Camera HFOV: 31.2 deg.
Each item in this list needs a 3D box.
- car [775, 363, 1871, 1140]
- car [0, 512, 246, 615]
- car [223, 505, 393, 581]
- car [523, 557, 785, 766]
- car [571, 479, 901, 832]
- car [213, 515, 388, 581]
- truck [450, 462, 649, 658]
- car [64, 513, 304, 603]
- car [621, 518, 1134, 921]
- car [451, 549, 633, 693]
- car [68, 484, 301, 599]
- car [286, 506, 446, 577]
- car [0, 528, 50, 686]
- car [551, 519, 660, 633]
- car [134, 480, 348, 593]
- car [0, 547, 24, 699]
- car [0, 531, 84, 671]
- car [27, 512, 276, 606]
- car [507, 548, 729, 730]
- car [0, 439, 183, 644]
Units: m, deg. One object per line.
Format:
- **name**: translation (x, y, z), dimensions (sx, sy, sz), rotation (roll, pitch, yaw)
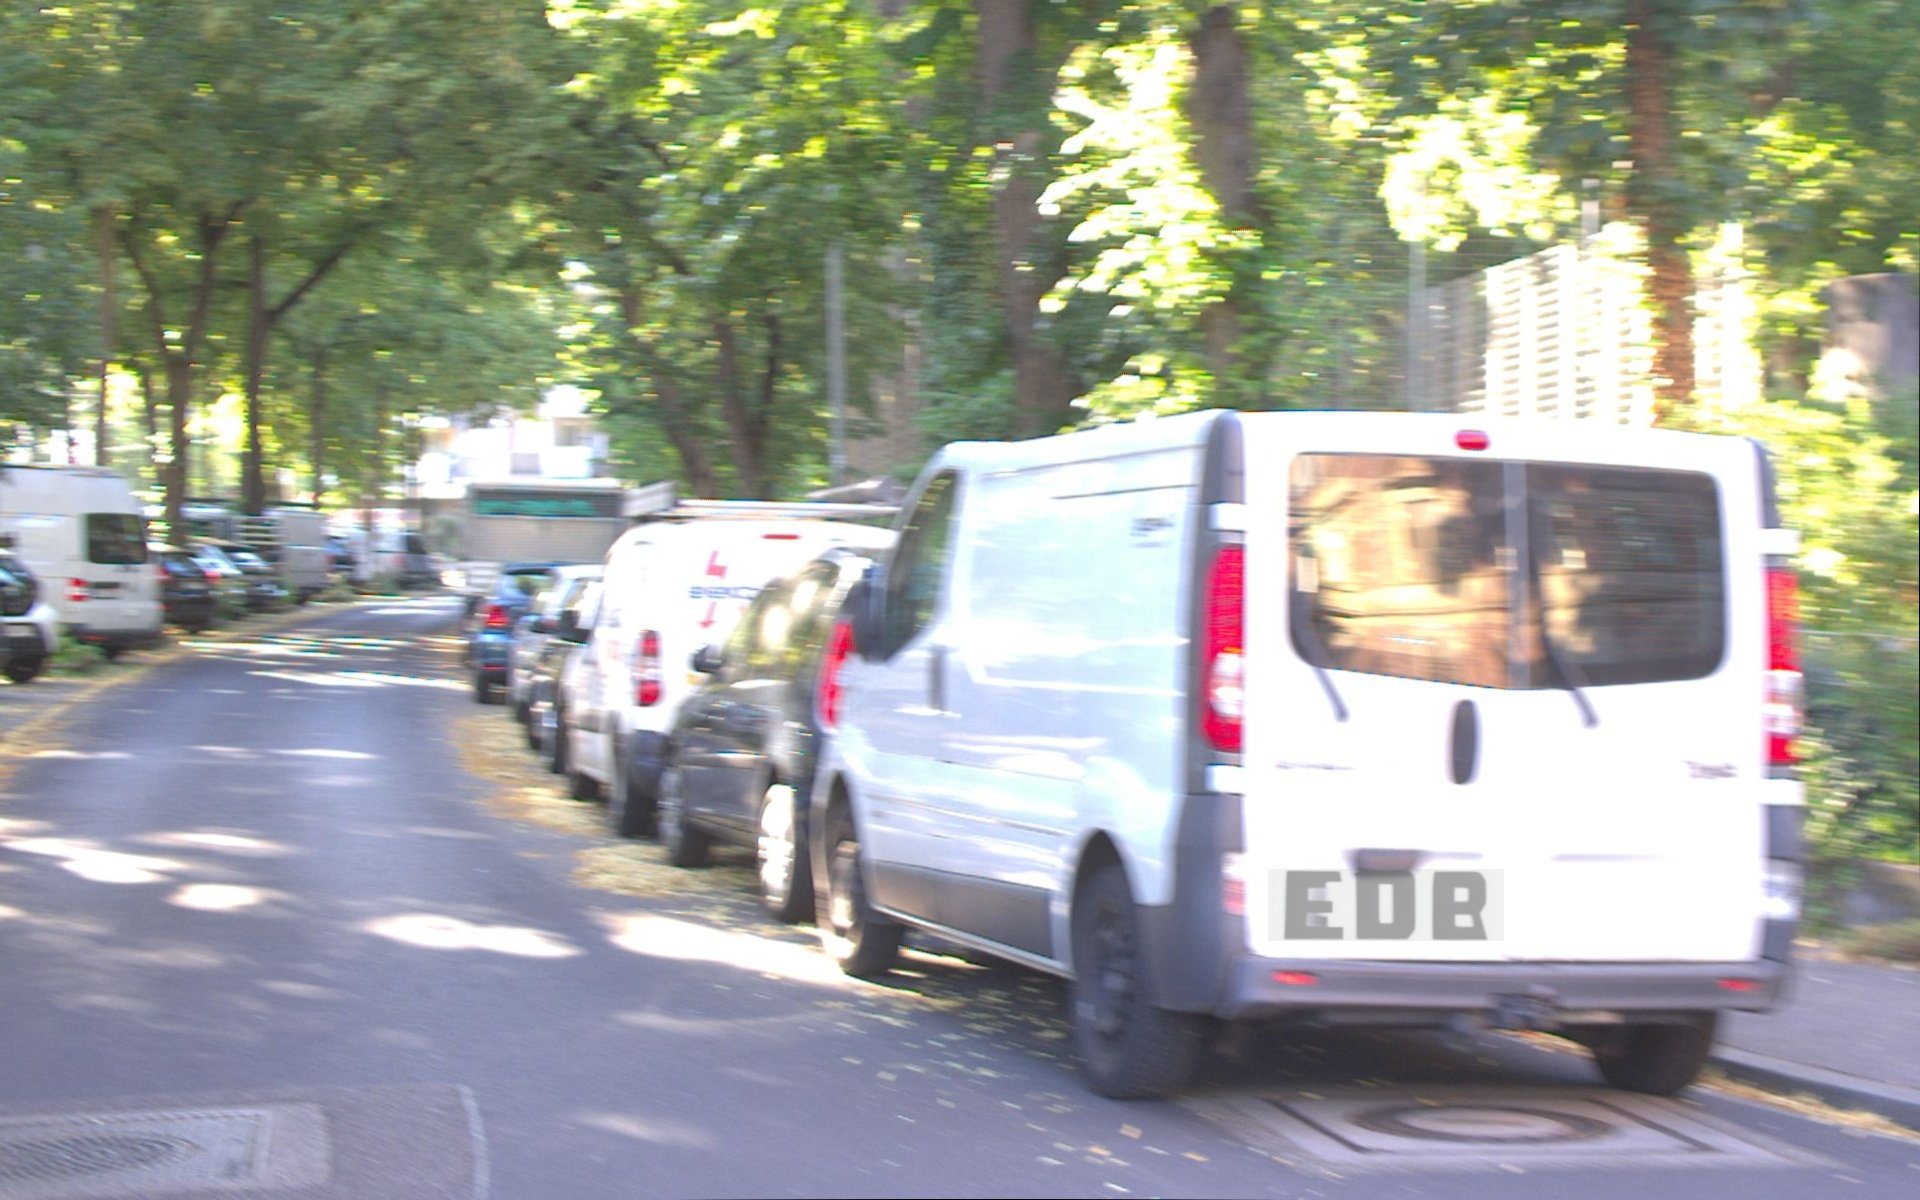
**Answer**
- **car**: translation (0.880, 0.346, 11.332), dimensions (1.943, 1.996, 4.661), rotation (1, 1, -16)
- **car**: translation (-13.868, -0.602, 55.815), dimensions (4.084, 1.468, 1.817), rotation (3, 0, 23)
- **car**: translation (-17.518, -1.527, 92.316), dimensions (4.084, 1.783, 1.817), rotation (3, 0, 23)
- **car**: translation (-2.321, 0.398, 25.391), dimensions (1.571, 1.381, 3.601), rotation (0, 1, -11)
- **car**: translation (-1.423, 0.252, 20.487), dimensions (1.571, 1.897, 3.903), rotation (0, 1, -10)
- **car**: translation (-17.153, -1.360, 89.455), dimensions (4.084, 1.468, 1.817), rotation (3, 0, 23)
- **truck**: translation (-5.211, -0.531, 43.442), dimensions (2.366, 2.344, 4.385), rotation (0, 1, -8)
- **car**: translation (-14.745, -0.803, 65.336), dimensions (4.084, 1.468, 1.817), rotation (3, 0, 23)
- **car**: translation (-0.504, 0.441, 15.948), dimensions (1.571, 1.632, 3.713), rotation (0, 1, -15)
- **car**: translation (-4.371, 0.178, 35.579), dimensions (1.571, 1.380, 3.602), rotation (0, 1, -12)
- **car**: translation (-15.300, -1.157, 67.831), dimensions (4.084, 2.033, 1.817), rotation (3, 0, 23)
- **car**: translation (-16.932, -1.670, 97.957), dimensions (4.084, 1.783, 1.817), rotation (3, 0, 23)
- **car**: translation (-11.460, -0.030, 34.974), dimensions (3.819, 1.582, 1.737), rotation (3, 0, 12)
- **car**: translation (-5.294, -0.382, 51.407), dimensions (1.571, 1.643, 3.601), rotation (0, 1, -6)
- **car**: translation (-15.486, -1.366, 74.051), dimensions (4.084, 2.202, 1.817), rotation (3, 0, 23)
- **car**: translation (-10.864, 0.111, 31.811), dimensions (3.819, 1.416, 1.737), rotation (3, 0, 12)
- **car**: translation (-11.755, -0.080, 37.510), dimensions (3.819, 1.476, 1.737), rotation (3, 0, 12)
- **car**: translation (-14.733, -0.752, 62.651), dimensions (4.084, 1.468, 1.817), rotation (3, 0, 23)
- **car**: translation (-3.054, 0.294, 30.178), dimensions (1.571, 1.462, 3.602), rotation (0, 1, -12)
- **car**: translation (-12.409, -0.803, 43.983), dimensions (4.491, 2.468, 1.817), rotation (3, 0, 23)
